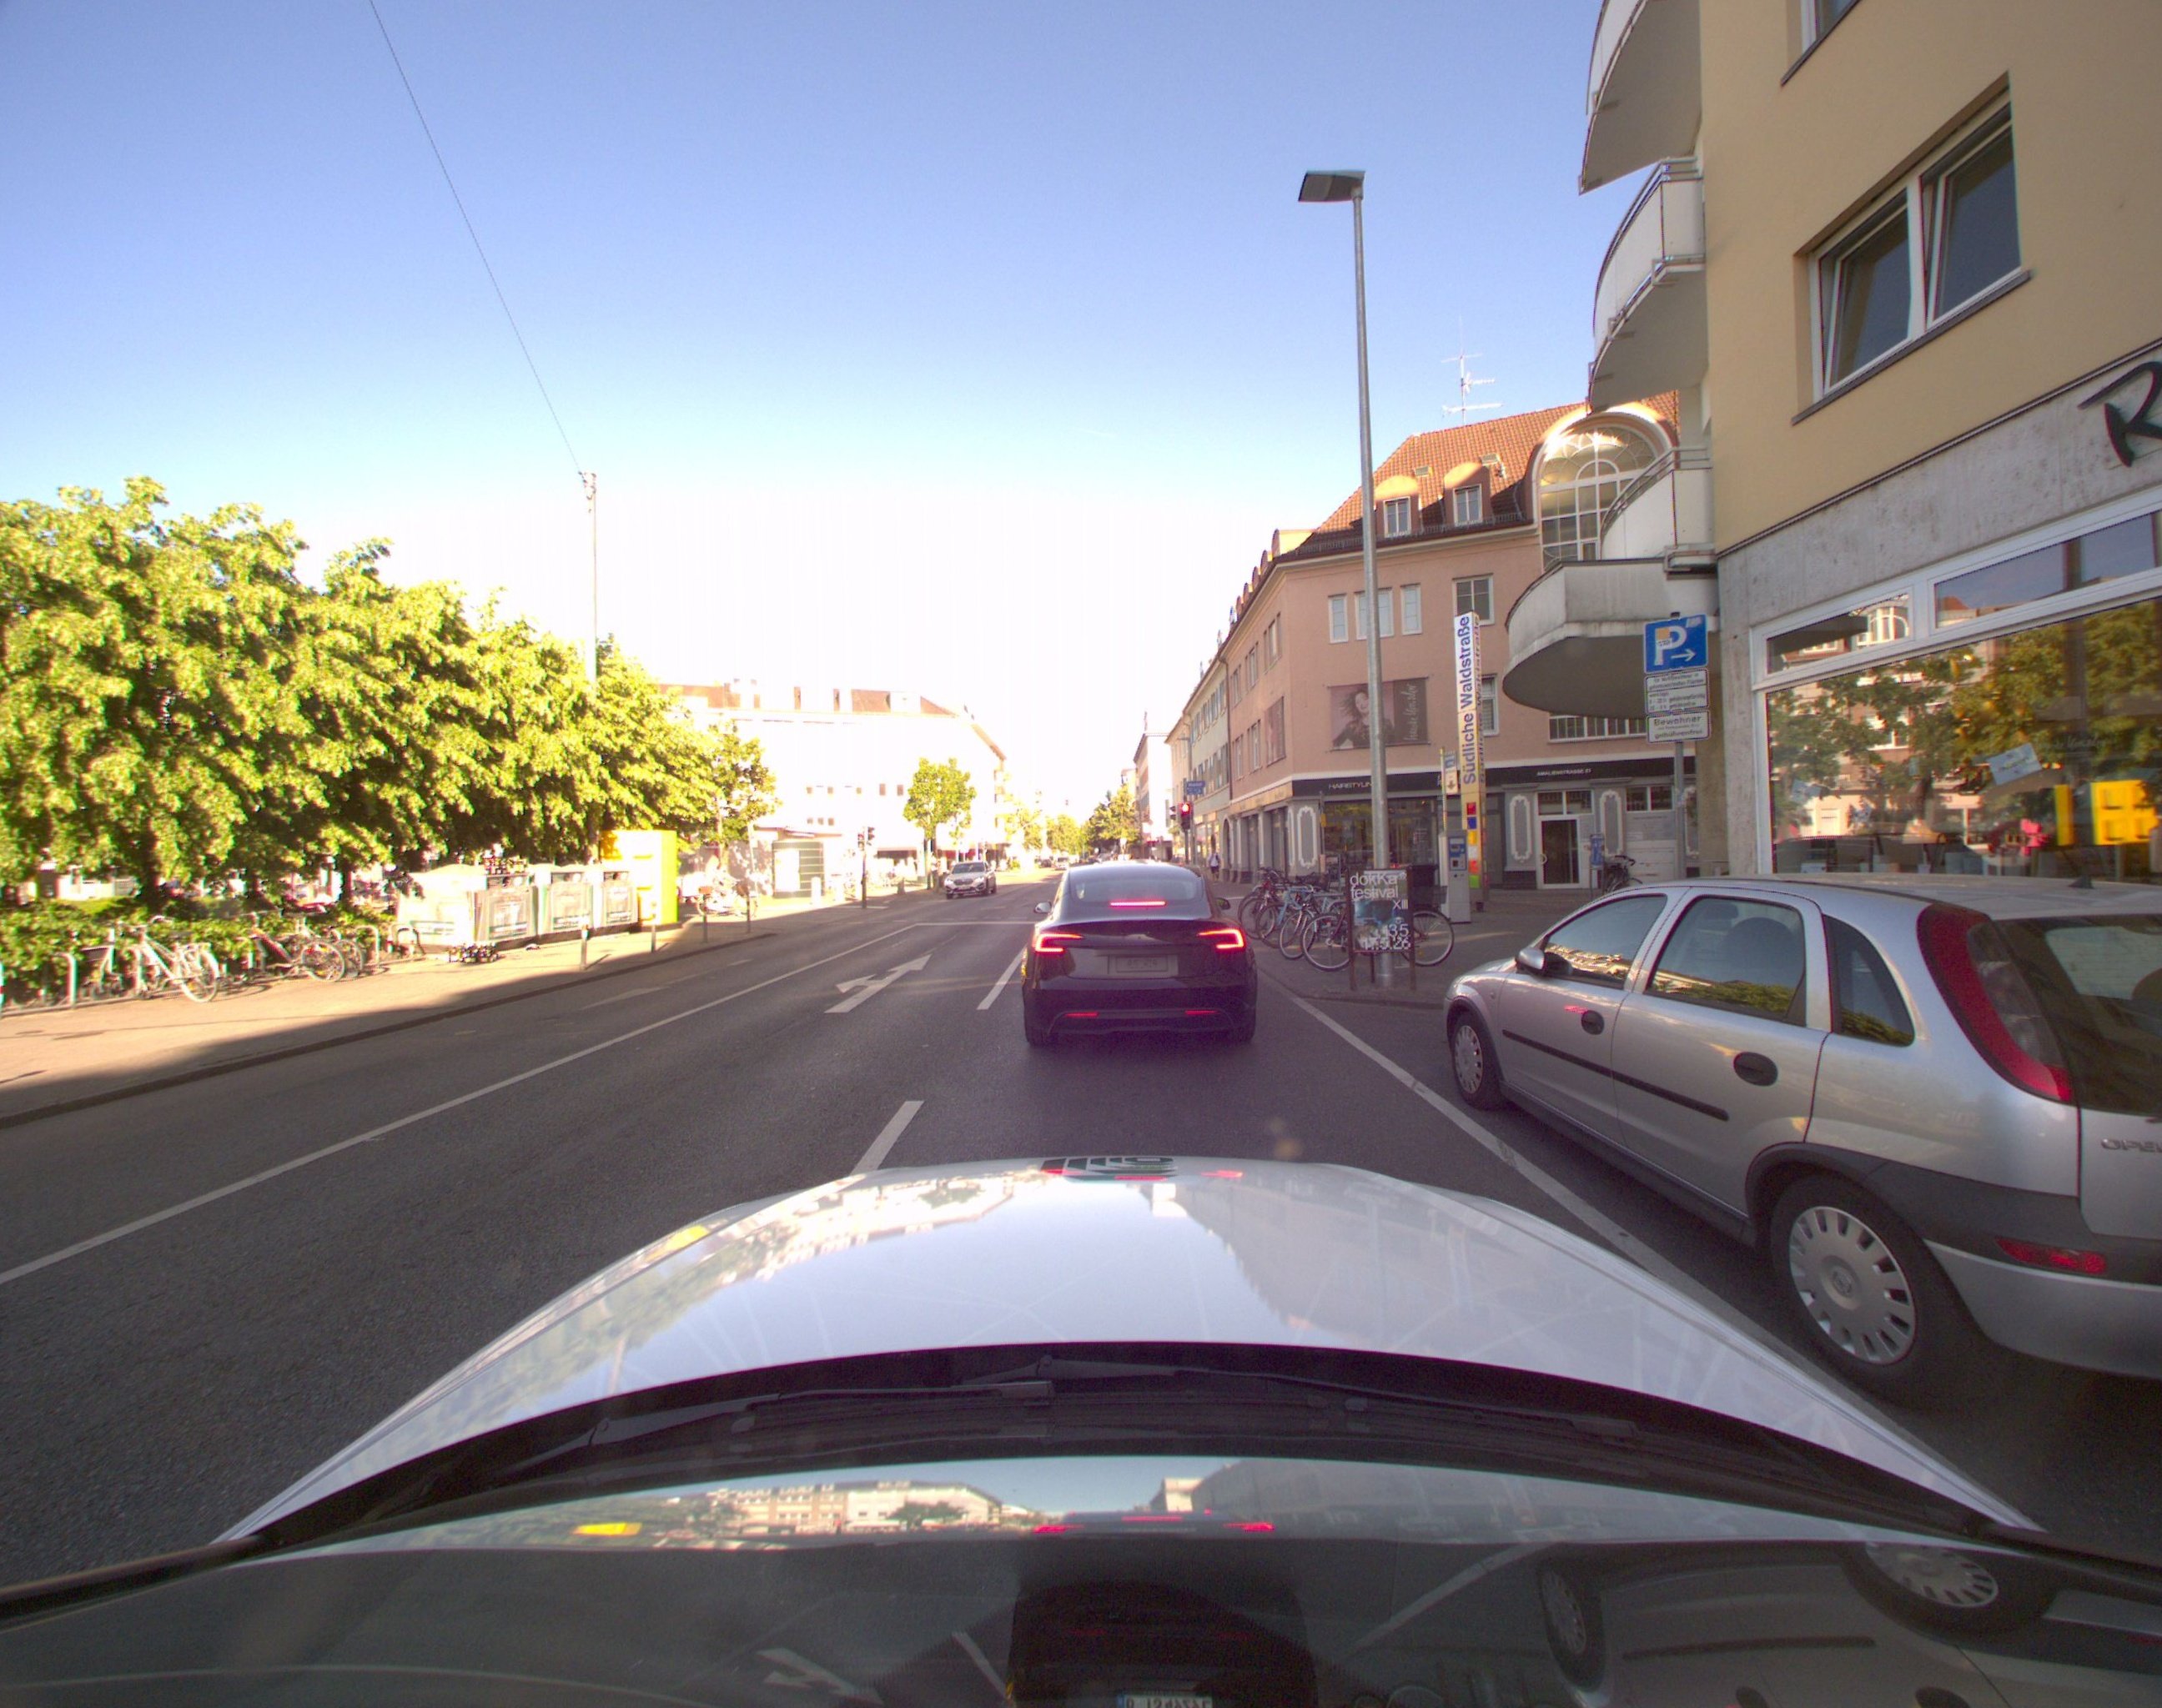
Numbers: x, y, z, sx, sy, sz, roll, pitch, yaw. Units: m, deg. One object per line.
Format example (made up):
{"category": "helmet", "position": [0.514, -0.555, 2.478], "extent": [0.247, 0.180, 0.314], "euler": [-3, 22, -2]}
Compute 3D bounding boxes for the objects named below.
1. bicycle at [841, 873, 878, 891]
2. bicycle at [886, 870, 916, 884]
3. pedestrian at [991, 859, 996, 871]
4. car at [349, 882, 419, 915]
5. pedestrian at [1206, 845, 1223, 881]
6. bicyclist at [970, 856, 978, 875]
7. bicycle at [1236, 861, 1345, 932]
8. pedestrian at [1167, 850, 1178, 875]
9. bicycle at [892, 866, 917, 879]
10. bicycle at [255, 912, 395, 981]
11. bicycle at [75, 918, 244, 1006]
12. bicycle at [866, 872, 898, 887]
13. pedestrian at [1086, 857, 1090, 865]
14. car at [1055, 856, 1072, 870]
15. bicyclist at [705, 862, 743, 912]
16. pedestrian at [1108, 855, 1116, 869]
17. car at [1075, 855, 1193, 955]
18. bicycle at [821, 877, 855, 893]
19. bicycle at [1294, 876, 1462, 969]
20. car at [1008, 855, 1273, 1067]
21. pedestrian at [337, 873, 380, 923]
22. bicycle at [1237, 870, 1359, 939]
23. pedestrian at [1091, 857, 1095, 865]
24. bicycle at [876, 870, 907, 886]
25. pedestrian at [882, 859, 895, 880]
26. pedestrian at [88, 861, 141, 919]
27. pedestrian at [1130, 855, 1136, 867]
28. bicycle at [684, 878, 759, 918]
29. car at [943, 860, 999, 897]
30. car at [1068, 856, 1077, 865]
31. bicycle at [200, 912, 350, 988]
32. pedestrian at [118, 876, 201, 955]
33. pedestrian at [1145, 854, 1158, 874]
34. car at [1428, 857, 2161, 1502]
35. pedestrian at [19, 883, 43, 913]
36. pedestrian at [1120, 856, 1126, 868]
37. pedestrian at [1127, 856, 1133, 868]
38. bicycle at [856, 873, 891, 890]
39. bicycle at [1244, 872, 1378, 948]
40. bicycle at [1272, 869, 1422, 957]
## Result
{"category": "bicycle", "position": [-12.420, 1.553, 45.657], "extent": [1.857, 0.934, 0.606], "euler": [-1, 0, 0]}
{"category": "bicycle", "position": [-12.186, 1.560, 55.173], "extent": [1.857, 0.934, 0.606], "euler": [-1, 0, 0]}
{"category": "pedestrian", "position": [-10.322, 1.275, 96.110], "extent": [0.459, 1.460, 0.517], "euler": [-1, 0, -3]}
{"category": "car", "position": [-32.542, 2.044, 38.002], "extent": [3.526, 1.386, 1.703], "euler": [-1, 0, 36]}
{"category": "pedestrian", "position": [6.645, 0.467, 40.485], "extent": [0.747, 1.765, 0.838], "euler": [-1, -1, 6]}
{"category": "bicyclist", "position": [-8.718, 0.942, 66.520], "extent": [0.525, 1.503, 0.472], "euler": [0, -1, -23]}
{"category": "bicycle", "position": [3.778, 0.761, 14.790], "extent": [1.818, 1.169, 0.507], "euler": [-3, -1, 7]}
{"category": "pedestrian", "position": [6.495, 0.630, 57.563], "extent": [0.704, 1.742, 0.540], "euler": [-1, 0, 1]}
{"category": "bicycle", "position": [-17.043, 1.774, 78.609], "extent": [2.373, 1.296, 0.509], "euler": [0, -1, -25]}
{"category": "bicycle", "position": [-11.320, 1.373, 12.203], "extent": [1.888, 0.955, 0.518], "euler": [-1, -1, 11]}
{"category": "bicycle", "position": [-11.622, 1.341, 10.279], "extent": [1.919, 1.015, 0.518], "euler": [-1, -1, 12]}
{"category": "bicycle", "position": [-12.285, 1.564, 50.270], "extent": [1.857, 0.934, 0.606], "euler": [0, -1, 0]}
{"category": "pedestrian", "position": [1.788, 1.738, 203.787], "extent": [0.927, 2.014, 0.939], "euler": [0, -1, 1]}
{"category": "car", "position": [-2.178, 1.090, 101.892], "extent": [1.780, 1.646, 4.404], "euler": [0, -1, 2]}
{"category": "bicyclist", "position": [-10.828, 0.998, 24.738], "extent": [0.890, 1.482, 0.699], "euler": [0, -1, -10]}
{"category": "pedestrian", "position": [3.957, 0.990, 103.748], "extent": [0.719, 1.695, 0.843], "euler": [-1, 0, -26]}
{"category": "car", "position": [0.796, 0.750, 13.903], "extent": [1.712, 1.425, 3.757], "euler": [-1, 0, 0]}
{"category": "bicycle", "position": [-12.839, 1.635, 43.081], "extent": [1.640, 0.792, 0.606], "euler": [0, -1, -3]}
{"category": "bicycle", "position": [3.621, 0.839, 10.021], "extent": [1.862, 1.038, 0.354], "euler": [-3, -1, 8]}
{"category": "car", "position": [0.477, 0.762, 7.680], "extent": [1.815, 1.442, 4.001], "euler": [-1, -1, 2]}
{"category": "pedestrian", "position": [-29.900, 1.796, 33.721], "extent": [1.025, 2.014, 1.061], "euler": [-1, -1, 31]}
{"category": "bicycle", "position": [3.618, 0.840, 13.689], "extent": [1.863, 1.038, 0.548], "euler": [-3, -1, 7]}
{"category": "pedestrian", "position": [3.072, 1.730, 203.957], "extent": [0.927, 2.014, 0.939], "euler": [0, -1, 1]}
{"category": "bicycle", "position": [-12.266, 1.541, 52.725], "extent": [1.857, 0.934, 0.606], "euler": [-1, 0, 0]}
{"category": "pedestrian", "position": [-18.797, 1.499, 79.505], "extent": [1.055, 2.014, 1.053], "euler": [0, -1, -6]}
{"category": "pedestrian", "position": [-34.285, 1.255, 28.904], "extent": [0.890, 2.013, 0.893], "euler": [-1, 0, 15]}
{"category": "pedestrian", "position": [6.095, 0.811, 95.849], "extent": [0.524, 1.422, 0.475], "euler": [0, -1, -28]}
{"category": "bicycle", "position": [-10.888, 1.324, 24.731], "extent": [1.934, 1.118, 0.706], "euler": [-1, -1, -10]}
{"category": "car", "position": [-4.856, 1.047, 36.438], "extent": [1.782, 1.460, 3.759], "euler": [-4, -1, 2]}
{"category": "car", "position": [-1.955, 1.497, 187.628], "extent": [1.986, 2.014, 4.001], "euler": [0, 0, 1]}
{"category": "bicycle", "position": [-11.519, 1.351, 11.644], "extent": [1.913, 1.003, 0.518], "euler": [-1, -1, 11]}
{"category": "pedestrian", "position": [-24.475, 1.609, 21.658], "extent": [1.051, 2.014, 0.971], "euler": [0, -1, -10]}
{"category": "pedestrian", "position": [6.007, 0.843, 69.338], "extent": [0.756, 1.631, 0.951], "euler": [0, -1, -16]}
{"category": "car", "position": [2.951, 0.727, 3.514], "extent": [1.540, 1.390, 3.479], "euler": [-1, -1, 3]}
{"category": "pedestrian", "position": [-77.999, 3.254, 60.496], "extent": [0.891, 2.171, 0.882], "euler": [-1, -1, 26]}
{"category": "pedestrian", "position": [4.960, 0.893, 95.902], "extent": [0.474, 1.417, 0.517], "euler": [0, -1, -29]}
{"category": "pedestrian", "position": [5.698, 0.981, 95.262], "extent": [0.524, 1.422, 0.475], "euler": [0, -1, -28]}
{"category": "bicycle", "position": [-12.160, 1.617, 47.790], "extent": [1.857, 0.934, 0.606], "euler": [0, -1, 0]}
{"category": "bicycle", "position": [3.492, 0.852, 12.487], "extent": [1.864, 1.038, 0.534], "euler": [-3, -1, 5]}
{"category": "bicycle", "position": [3.624, 0.809, 11.199], "extent": [1.864, 1.087, 0.415], "euler": [-3, -1, 5]}
